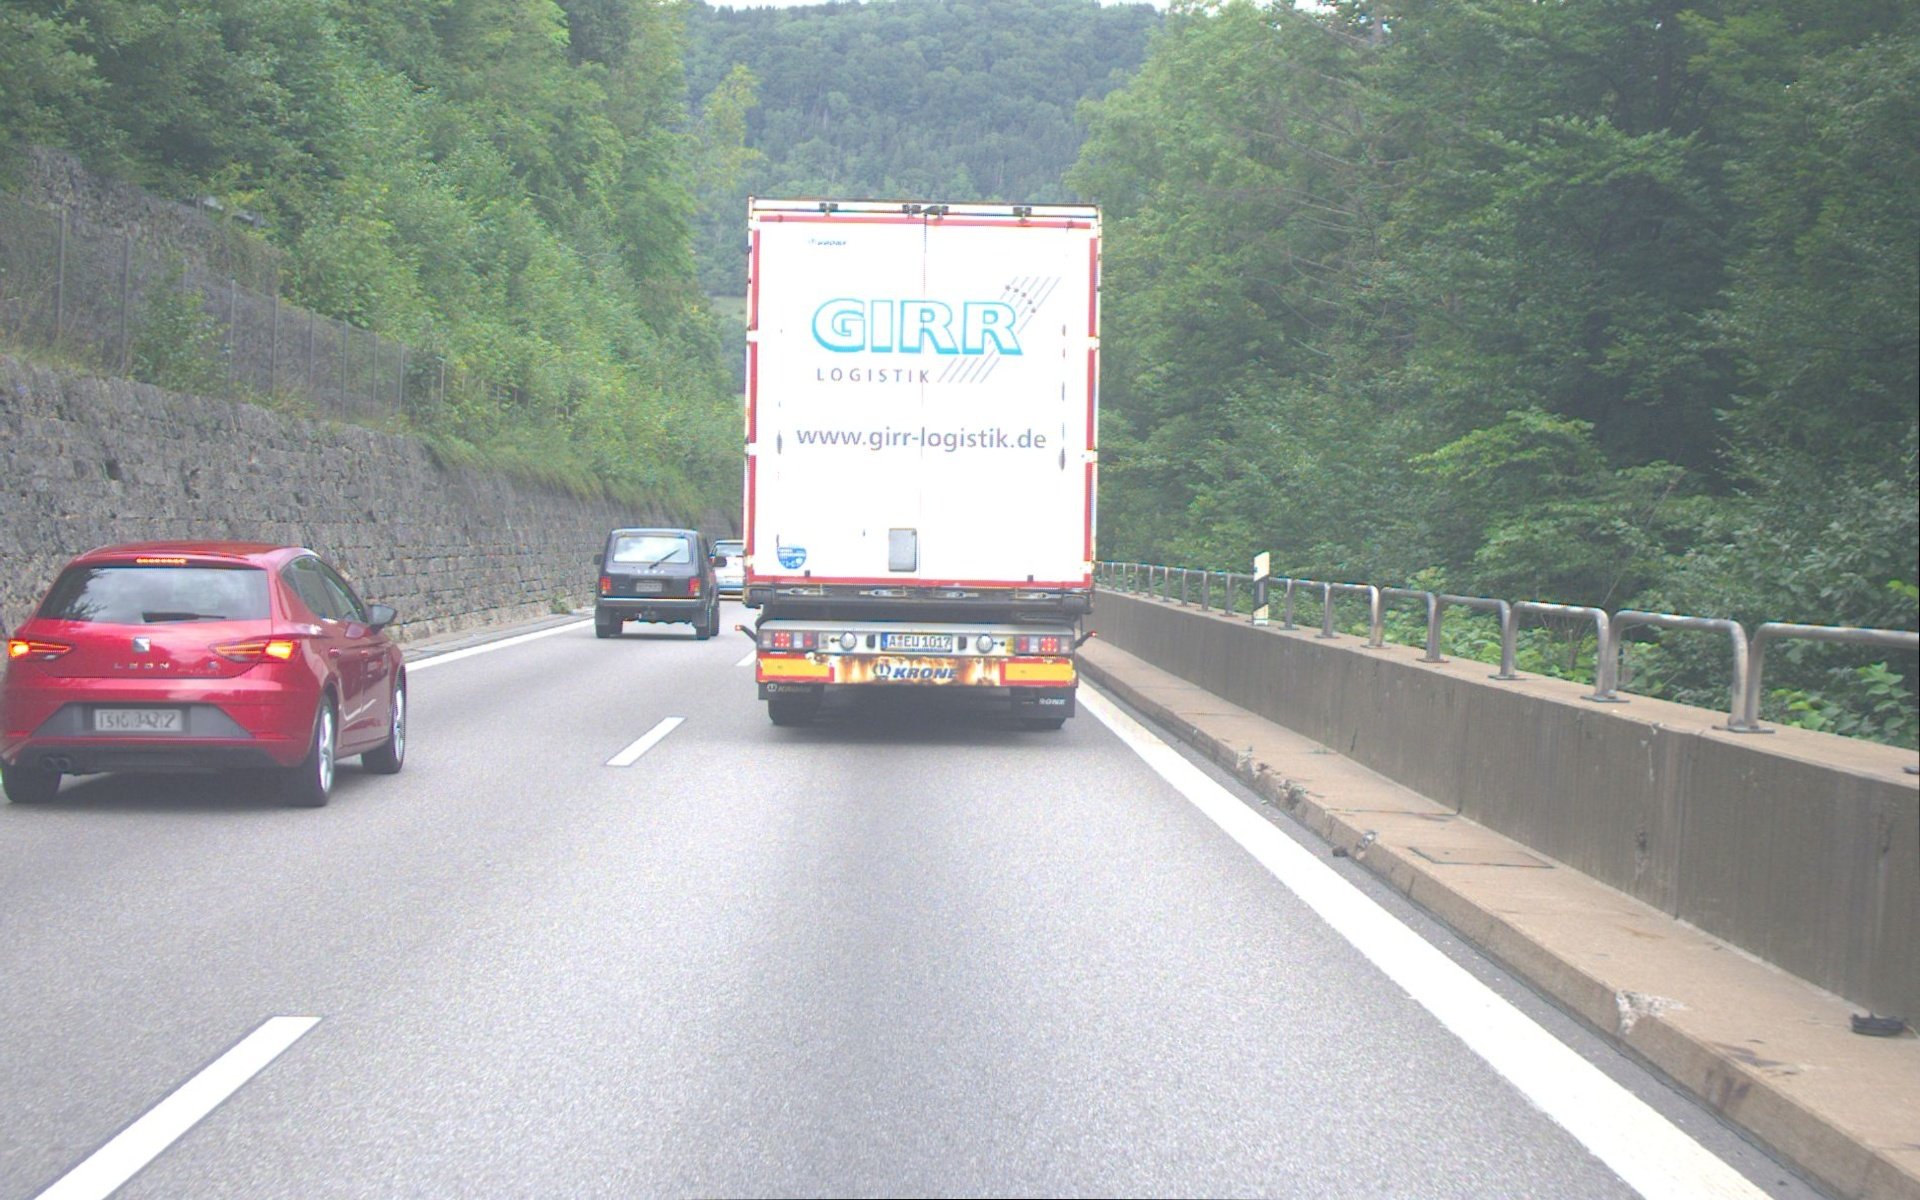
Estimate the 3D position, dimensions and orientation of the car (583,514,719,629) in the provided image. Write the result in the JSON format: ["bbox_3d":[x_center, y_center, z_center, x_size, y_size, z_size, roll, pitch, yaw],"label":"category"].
[{"bbox_3d":[-4.531,-0.424,50.918,1.669,1.633,4.068,0,0,0],"label":"car"}]

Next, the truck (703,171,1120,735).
[{"bbox_3d":[-0.346,-1.093,28.859,2.909,3.947,9.279,0,1,0],"label":"truck"}]

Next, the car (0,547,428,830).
[{"bbox_3d":[-4.284,0.438,19.975,1.766,1.455,4.411,0,0,-1],"label":"car"}]

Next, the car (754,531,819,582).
[{"bbox_3d":[-5.558,-1.383,110.395,1.917,1.589,4.179,0,0,-1],"label":"car"}]

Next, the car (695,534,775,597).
[{"bbox_3d":[-5.435,-0.843,83.369,1.729,1.481,4.000,0,0,-1],"label":"car"}]
